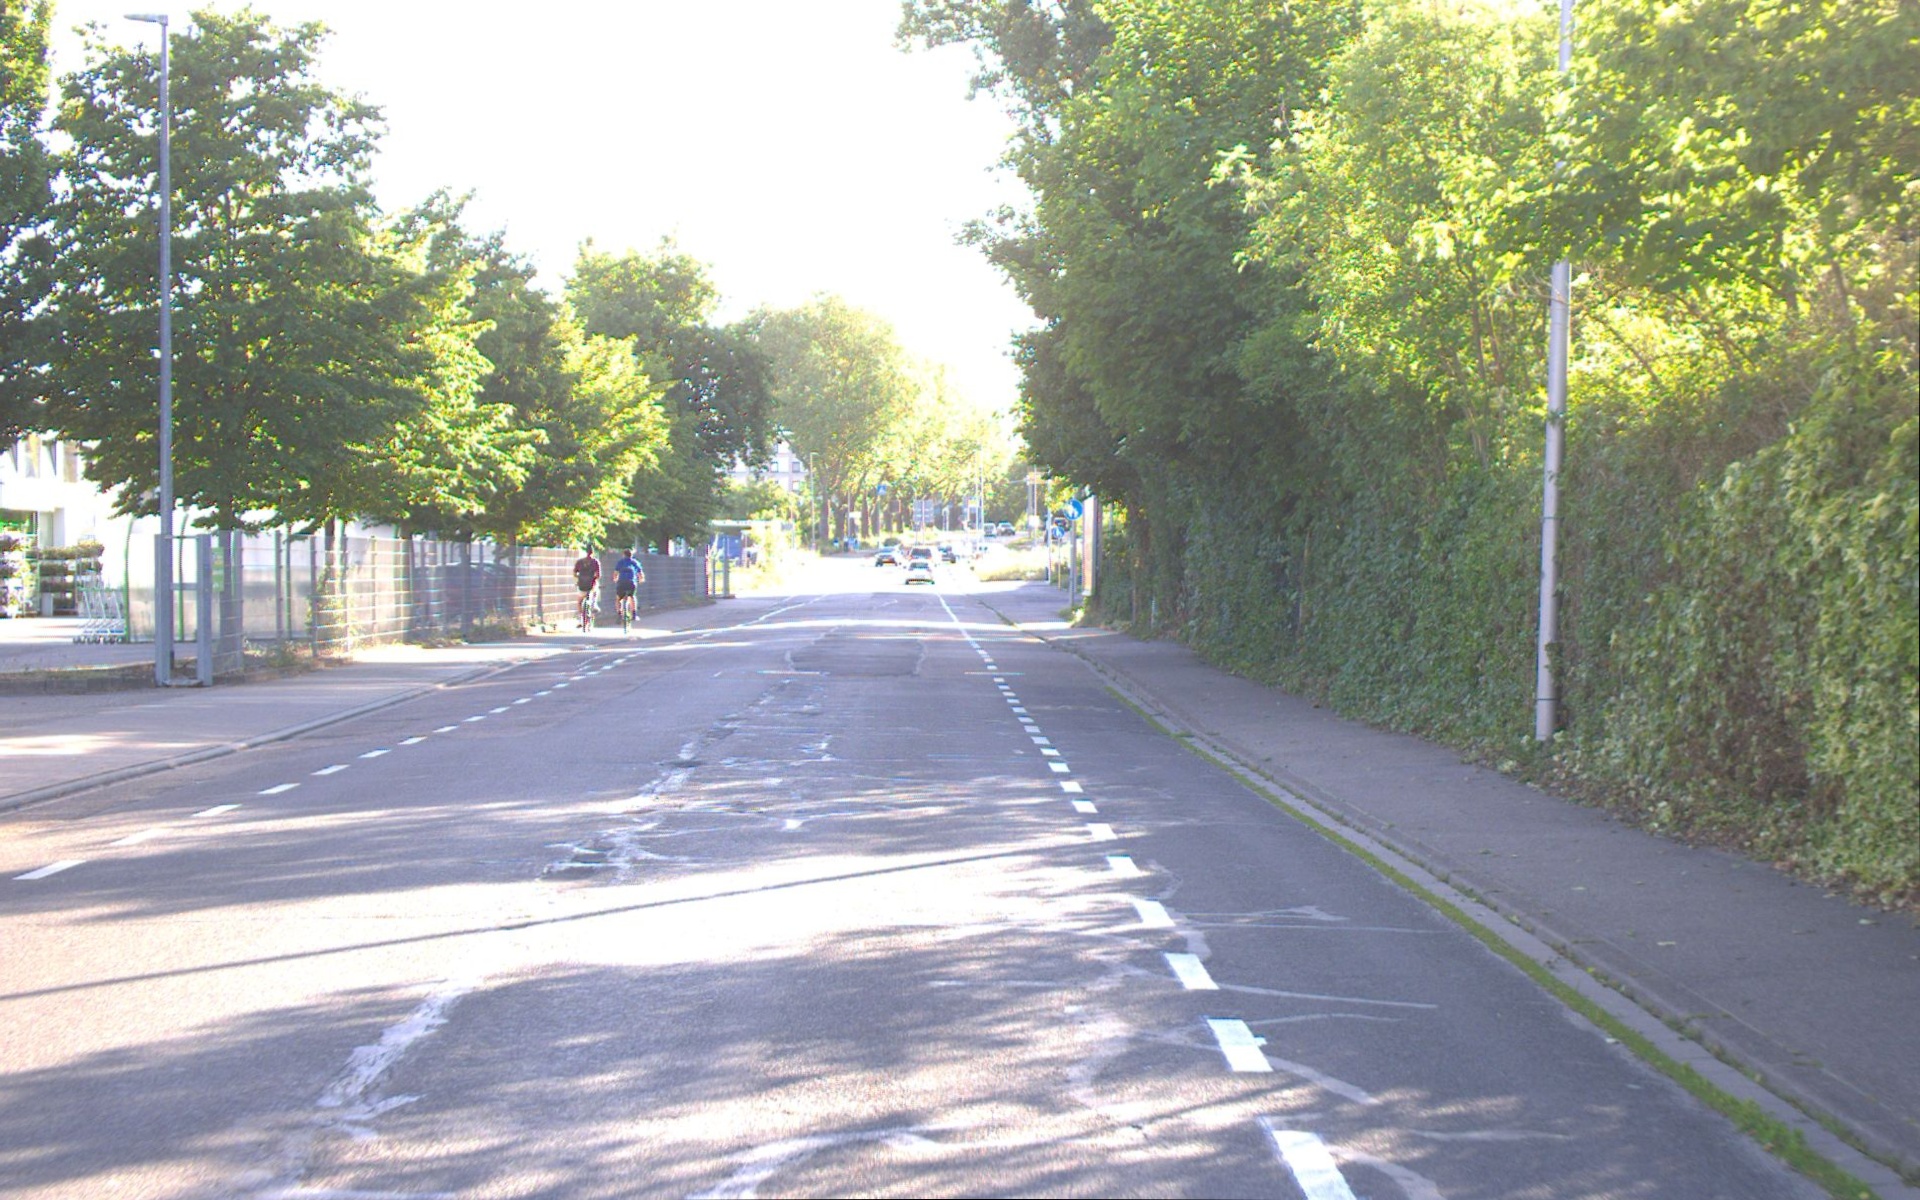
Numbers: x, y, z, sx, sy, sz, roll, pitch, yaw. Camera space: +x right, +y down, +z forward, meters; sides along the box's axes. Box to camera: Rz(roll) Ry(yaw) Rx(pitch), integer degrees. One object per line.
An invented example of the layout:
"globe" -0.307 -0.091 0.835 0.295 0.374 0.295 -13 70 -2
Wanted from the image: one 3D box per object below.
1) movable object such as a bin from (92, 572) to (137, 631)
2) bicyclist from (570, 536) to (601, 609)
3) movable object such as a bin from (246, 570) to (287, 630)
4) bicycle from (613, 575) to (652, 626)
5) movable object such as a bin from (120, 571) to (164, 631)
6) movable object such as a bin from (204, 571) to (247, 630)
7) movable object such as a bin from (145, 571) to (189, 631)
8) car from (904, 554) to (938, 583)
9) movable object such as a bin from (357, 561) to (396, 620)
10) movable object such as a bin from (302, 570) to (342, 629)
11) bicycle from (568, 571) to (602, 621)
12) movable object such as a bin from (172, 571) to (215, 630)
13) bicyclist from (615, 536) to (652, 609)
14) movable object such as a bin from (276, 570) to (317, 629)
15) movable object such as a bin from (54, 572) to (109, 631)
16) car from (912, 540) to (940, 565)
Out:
"movable object such as a bin" -15.661 0.017 63.671 0.463 1.072 1.570 0 1 -1
"bicyclist" -7.999 -0.591 73.489 0.560 1.528 0.689 2 1 -1
"movable object such as a bin" -12.830 -0.006 63.599 0.463 1.072 1.570 0 1 -1
"bicycle" -6.987 0.003 73.332 0.689 1.030 1.351 2 1 -1
"movable object such as a bin" -15.146 0.013 63.653 0.463 1.072 1.570 0 1 -1
"movable object such as a bin" -13.567 0.000 63.520 0.463 1.072 1.570 0 1 -1
"movable object such as a bin" -14.654 0.009 63.551 0.463 1.072 1.570 0 1 -1
"car" -2.306 -1.857 202.304 1.942 1.645 4.310 2 1 -1
"movable object such as a bin" -10.758 -0.183 63.438 0.463 1.072 1.570 0 1 -1
"movable object such as a bin" -11.770 -0.015 63.489 0.463 1.072 1.570 0 1 -1
"bicycle" -8.019 -0.096 73.576 0.563 1.030 1.351 2 1 -1
"movable object such as a bin" -14.141 0.004 63.455 0.463 1.072 1.570 0 1 -1
"bicyclist" -6.968 -0.599 73.281 0.689 1.526 0.722 2 1 -1
"movable object such as a bin" -12.286 -0.011 63.666 0.463 1.072 1.570 0 1 -1
"movable object such as a bin" -16.245 0.023 63.599 0.619 1.072 1.570 0 1 -1
"car" -2.387 -3.366 243.374 1.942 1.645 4.310 2 1 -1
